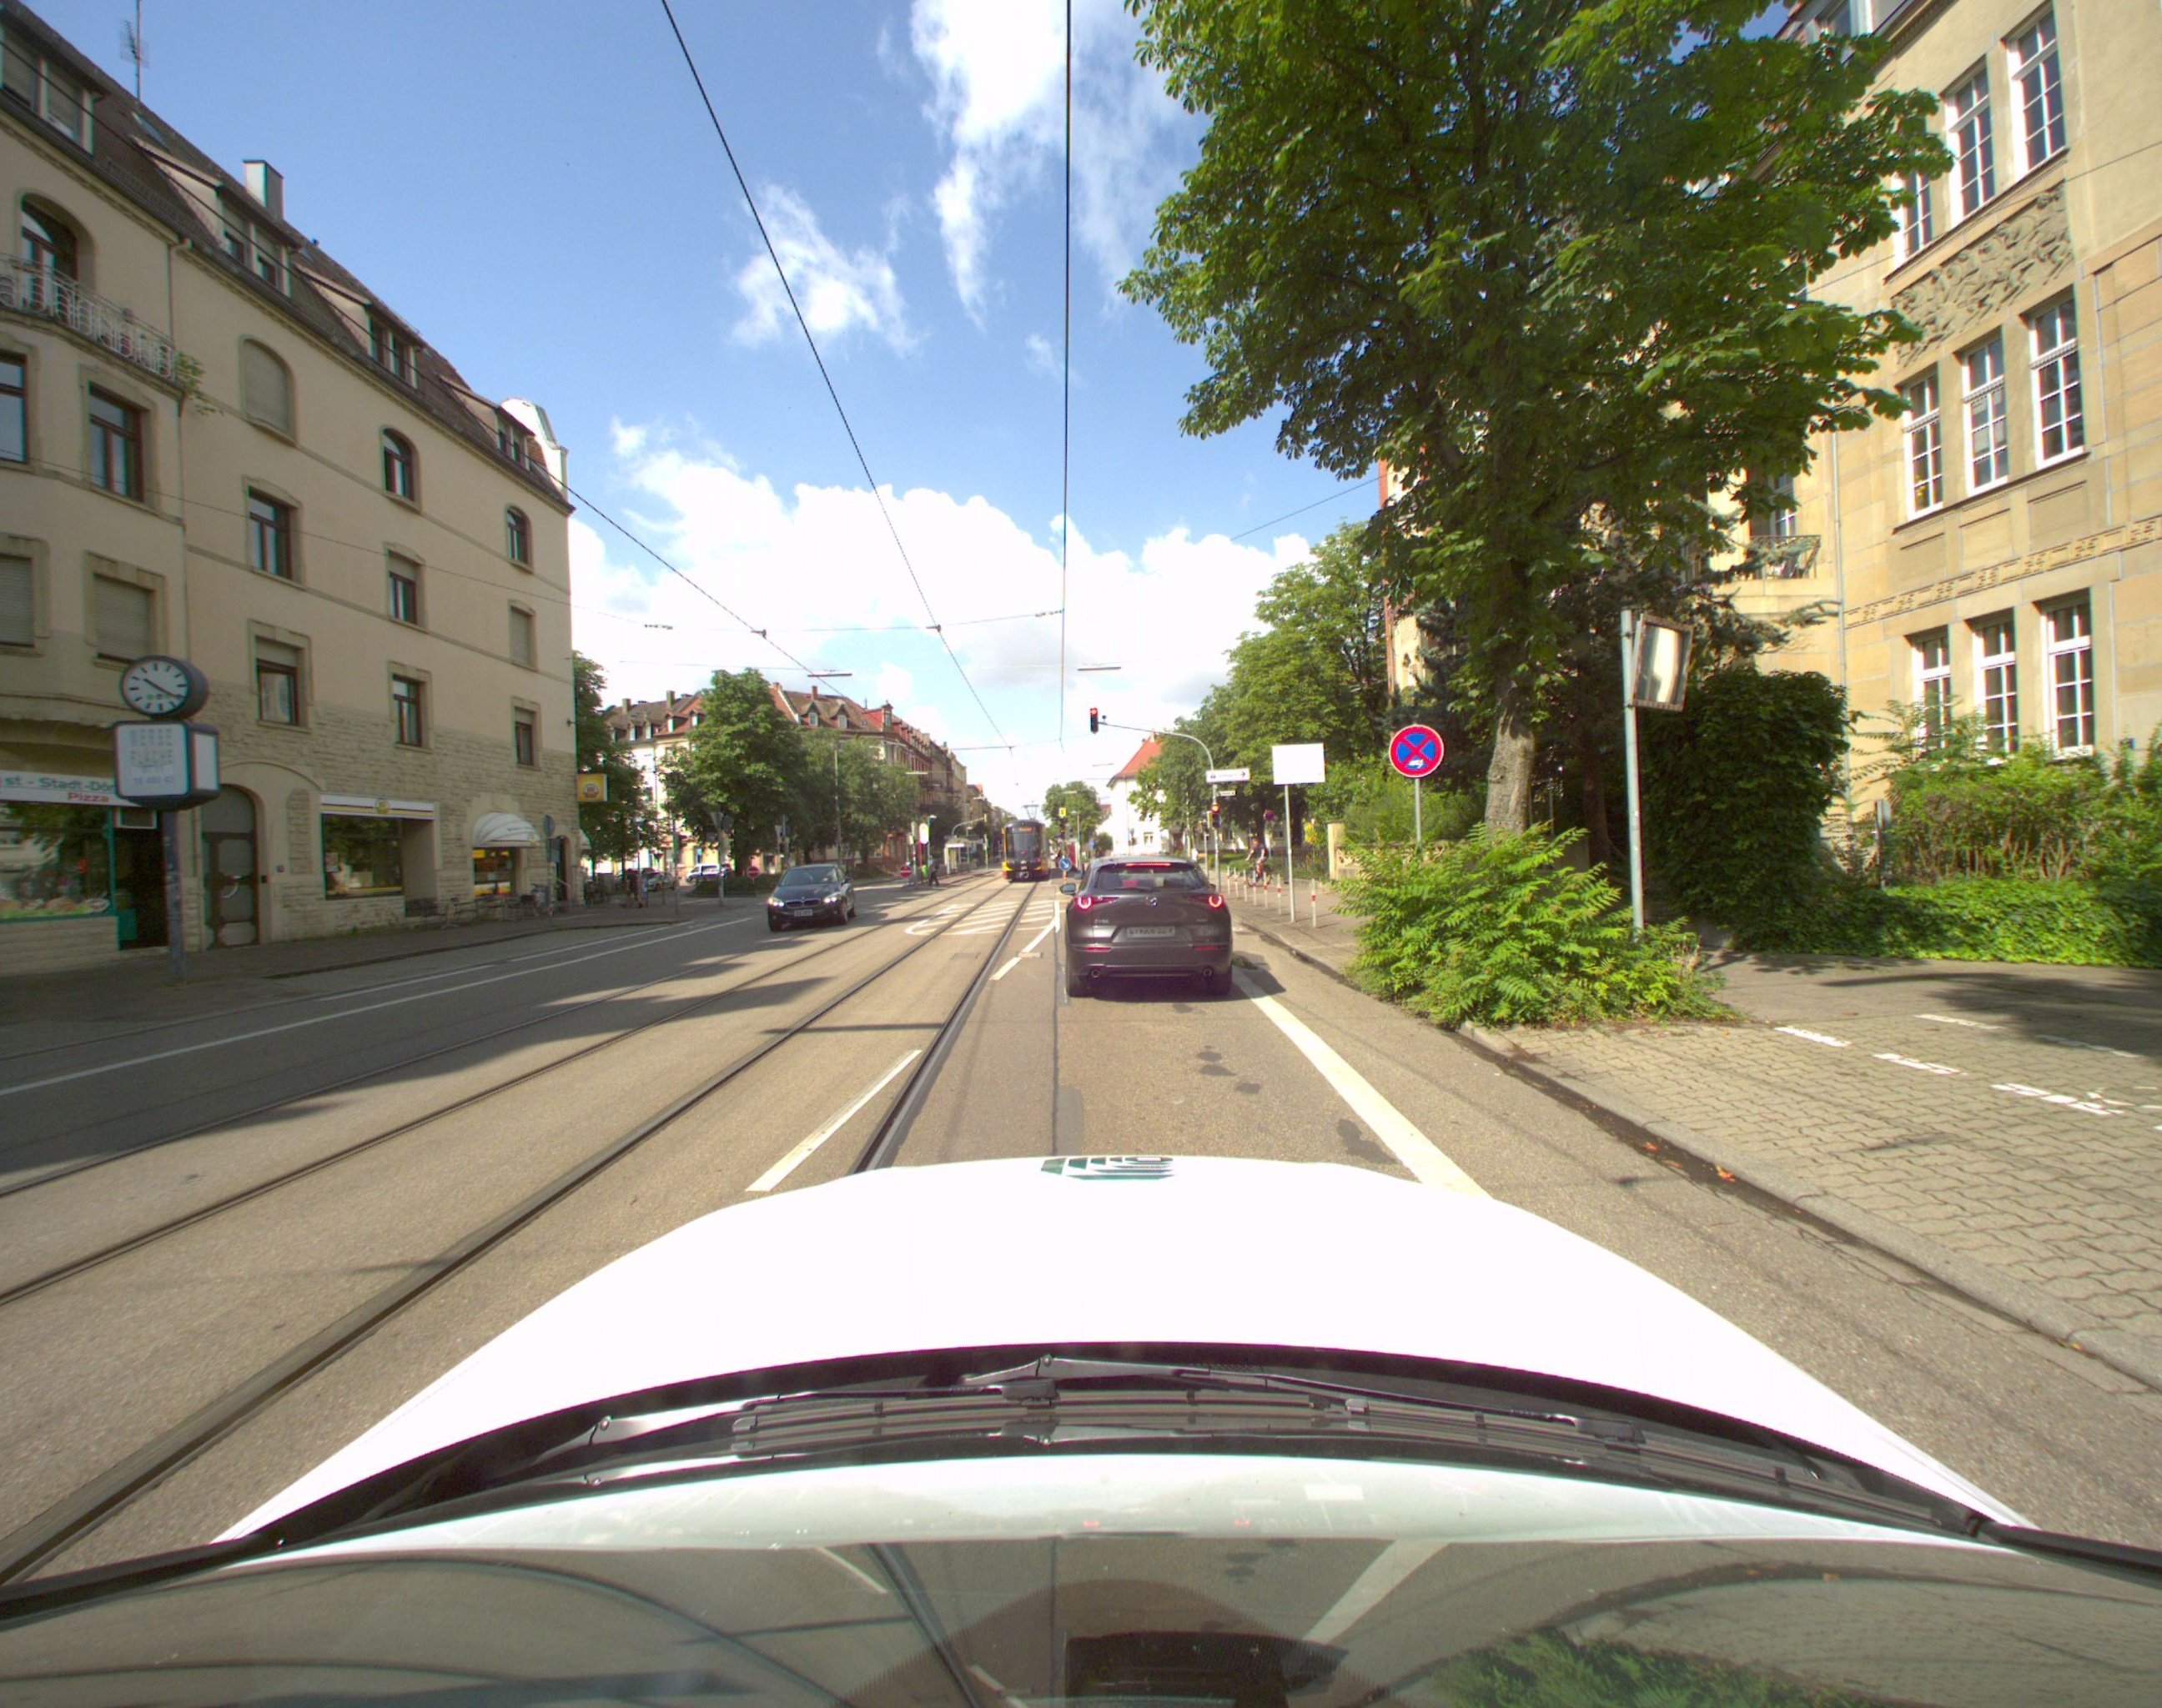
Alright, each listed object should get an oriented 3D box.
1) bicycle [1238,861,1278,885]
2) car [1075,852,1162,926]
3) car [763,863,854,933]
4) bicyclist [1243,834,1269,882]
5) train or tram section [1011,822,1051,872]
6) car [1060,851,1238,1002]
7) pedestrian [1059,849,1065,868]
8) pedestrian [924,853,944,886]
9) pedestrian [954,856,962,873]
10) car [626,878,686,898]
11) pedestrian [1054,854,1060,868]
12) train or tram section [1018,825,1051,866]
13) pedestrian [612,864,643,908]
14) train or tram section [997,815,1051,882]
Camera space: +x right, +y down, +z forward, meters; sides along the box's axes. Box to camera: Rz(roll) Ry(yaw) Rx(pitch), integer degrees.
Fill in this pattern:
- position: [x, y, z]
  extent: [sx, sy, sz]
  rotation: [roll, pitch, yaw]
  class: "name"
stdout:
- position: [6.755, 0.716, 31.039]
  extent: [1.707, 0.824, 0.489]
  rotation: [-2, 0, -37]
  class: "bicycle"
- position: [0.826, 0.723, 18.762]
  extent: [1.772, 1.499, 4.001]
  rotation: [0, 0, 1]
  class: "car"
- position: [-6.848, 1.020, 20.839]
  extent: [1.758, 1.518, 4.050]
  rotation: [-2, 0, -13]
  class: "car"
- position: [6.673, 0.145, 31.013]
  extent: [0.613, 1.793, 0.651]
  rotation: [-2, 0, -36]
  class: "bicyclist"
- position: [-3.851, -0.630, 65.391]
  extent: [2.746, 3.490, 14.396]
  rotation: [-2, 1, -2]
  class: "train or tram section"
- position: [0.727, 0.724, 10.151]
  extent: [1.772, 1.499, 4.001]
  rotation: [0, 0, 1]
  class: "car"
- position: [-1.475, 0.340, 63.406]
  extent: [0.449, 1.434, 0.474]
  rotation: [-2, 0, -3]
  class: "pedestrian"
- position: [-7.718, 0.818, 42.897]
  extent: [0.712, 1.705, 0.826]
  rotation: [-2, 0, 11]
  class: "pedestrian"
- position: [-9.824, 0.838, 64.910]
  extent: [0.424, 1.399, 0.401]
  rotation: [-2, 0, 32]
  class: "pedestrian"
- position: [-31.195, 2.487, 59.896]
  extent: [1.662, 1.182, 4.012]
  rotation: [-2, 0, 11]
  class: "car"
- position: [-1.859, 0.524, 62.872]
  extent: [0.379, 1.071, 0.474]
  rotation: [-2, 0, -2]
  class: "pedestrian"
- position: [-4.405, -0.882, 79.781]
  extent: [2.746, 3.490, 14.396]
  rotation: [-2, 1, -2]
  class: "train or tram section"
- position: [-18.087, 1.258, 32.476]
  extent: [0.746, 1.684, 0.702]
  rotation: [-2, 0, 11]
  class: "pedestrian"
- position: [-3.318, -0.393, 51.034]
  extent: [2.746, 3.490, 14.396]
  rotation: [-2, 1, -2]
  class: "train or tram section"
